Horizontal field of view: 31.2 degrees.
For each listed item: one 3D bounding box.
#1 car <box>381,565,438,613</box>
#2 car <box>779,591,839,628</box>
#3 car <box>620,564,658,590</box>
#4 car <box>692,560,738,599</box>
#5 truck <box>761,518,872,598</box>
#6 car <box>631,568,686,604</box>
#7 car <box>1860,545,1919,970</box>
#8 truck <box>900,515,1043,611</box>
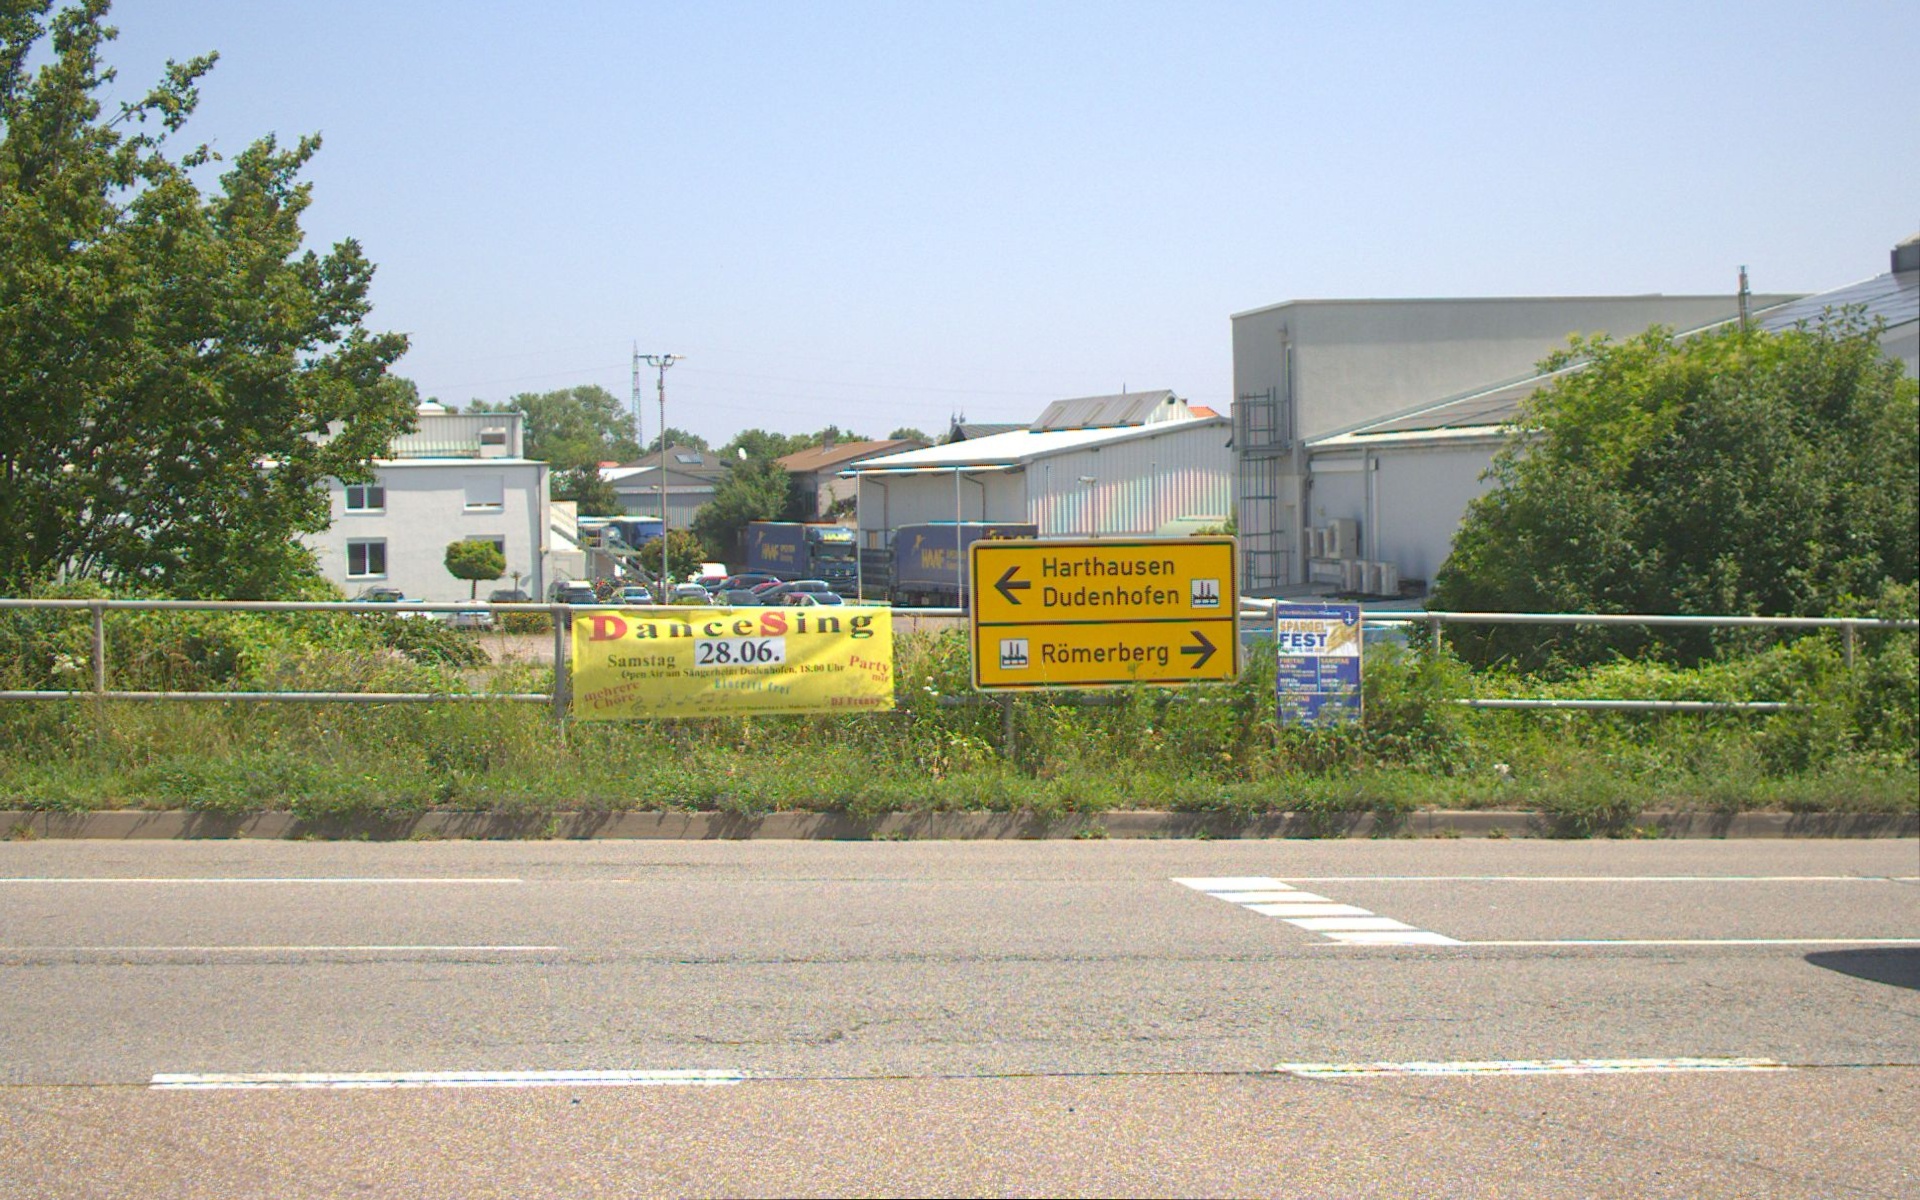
[{"bbox_3d":[-24.504,-0.510,152.912,1.993,2.007,4.865,1,1,-15],"label":"car"},{"bbox_3d":[-6.280,0.396,142.353,1.682,1.358,3.837,-3,2,-14],"label":"car"},{"bbox_3d":[-17.185,-1.248,184.112,1.450,1.346,3.317,0,1,-15],"label":"car"},{"bbox_3d":[-13.004,-1.081,182.176,1.716,2.007,4.001,0,1,-14],"label":"car"},{"bbox_3d":[-8.208,-2.431,193.542,3.411,4.296,14.598,0,1,-14],"label":"truck"},{"bbox_3d":[-15.450,-0.730,175.881,1.993,1.725,4.865,1,1,-15],"label":"car"},{"bbox_3d":[5.844,0.635,12.728,4.475,1.578,1.798,1,0,-9],"label":"car"},{"bbox_3d":[0.404,-1.778,160.179,3.707,4.296,13.346,0,1,-13],"label":"truck"}]
